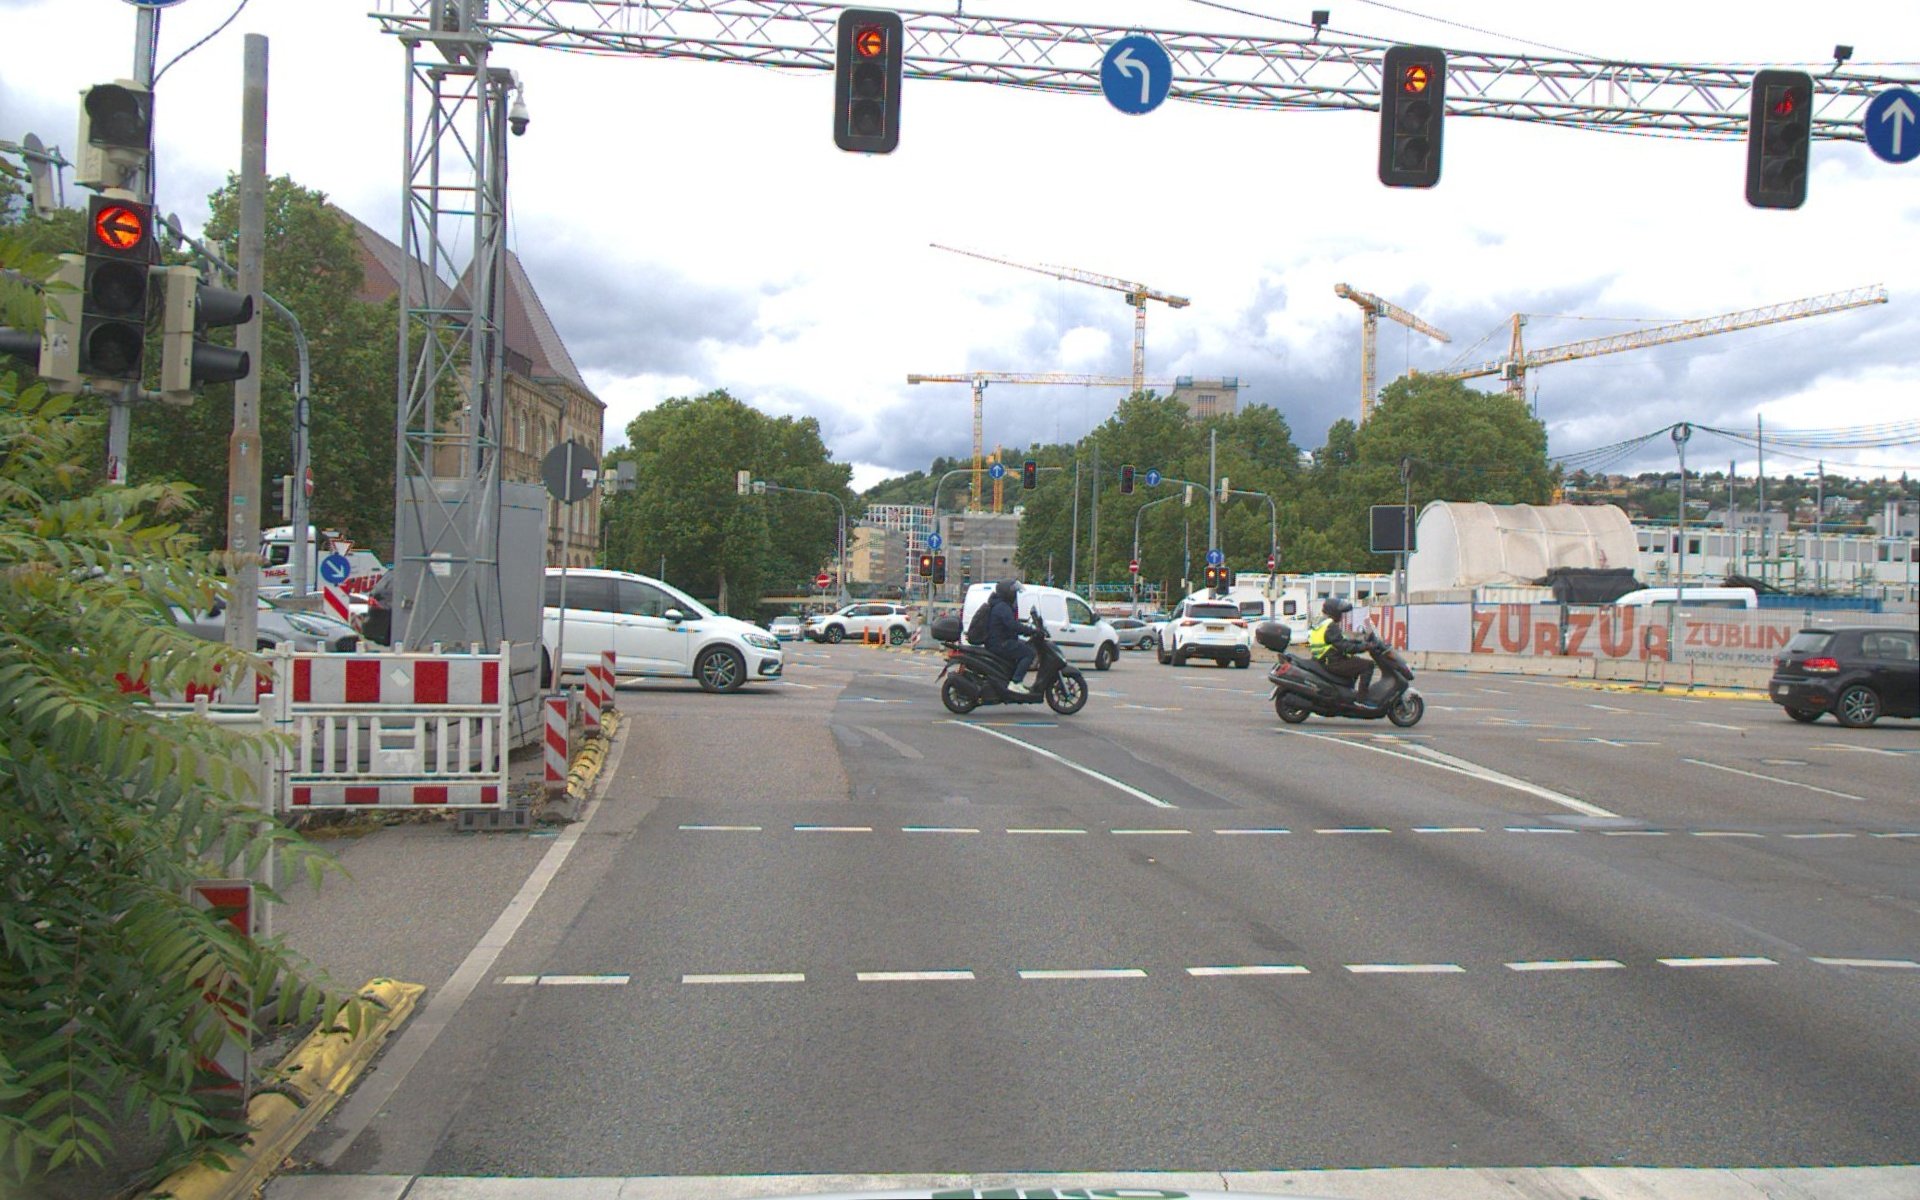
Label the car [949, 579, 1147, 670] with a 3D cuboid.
[{"bbox_3d":[2.013,0.532,36.618,1.837,1.865,4.693,1,0,42],"label":"car"}]

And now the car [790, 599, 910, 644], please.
[{"bbox_3d":[-4.463,0.863,67.140,4.524,1.754,1.894,1,0,-24],"label":"car"}]

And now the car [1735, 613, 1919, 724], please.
[{"bbox_3d":[14.147,1.014,24.933,4.020,1.574,2.001,1,0,5],"label":"car"}]

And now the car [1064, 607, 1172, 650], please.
[{"bbox_3d":[7.218,1.294,75.417,4.508,1.805,1.984,2,1,-26],"label":"car"}]

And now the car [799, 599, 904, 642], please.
[{"bbox_3d":[-4.654,0.877,70.992,4.093,1.754,1.894,1,0,-24],"label":"car"}]

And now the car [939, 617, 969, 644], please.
[{"bbox_3d":[-0.434,2.179,119.833,1.954,1.870,3.997,1,0,-3],"label":"car"}]

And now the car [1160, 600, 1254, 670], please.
[{"bbox_3d":[6.638,0.909,44.953,1.952,1.790,4.505,1,0,1],"label":"car"}]

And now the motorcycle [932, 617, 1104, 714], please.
[{"bbox_3d":[0.719,0.817,20.921,2.123,1.175,0.652,1,0,0],"label":"motorcycle"}]

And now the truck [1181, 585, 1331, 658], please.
[{"bbox_3d":[13.437,0.974,74.916,6.495,3.201,2.349,1,0,-24],"label":"truck"}]

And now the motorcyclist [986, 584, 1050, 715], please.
[{"bbox_3d":[0.724,0.615,20.921,0.770,1.624,0.652,1,-1,0],"label":"motorcyclist"}]

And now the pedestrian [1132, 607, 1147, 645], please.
[{"bbox_3d":[8.860,1.282,81.664,0.574,1.872,0.604,1,-1,-4],"label":"pedestrian"}]

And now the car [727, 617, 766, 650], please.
[{"bbox_3d":[-12.511,1.949,96.982,1.954,1.870,3.997,1,0,-3],"label":"car"}]

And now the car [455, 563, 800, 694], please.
[{"bbox_3d":[-4.674,0.399,23.847,4.577,1.732,1.999,1,0,-3],"label":"car"}]

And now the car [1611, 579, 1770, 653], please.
[{"bbox_3d":[21.049,0.450,47.816,3.902,2.049,2.001,1,0,15],"label":"car"}]

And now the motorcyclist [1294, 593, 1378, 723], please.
[{"bbox_3d":[4.725,0.719,20.832,0.860,1.598,0.817,1,-1,0],"label":"motorcyclist"}]

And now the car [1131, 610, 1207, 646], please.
[{"bbox_3d":[11.313,1.494,89.328,3.902,1.870,2.002,1,0,12],"label":"car"}]

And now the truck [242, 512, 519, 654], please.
[{"bbox_3d":[-21.775,-0.545,62.385,9.584,5.047,3.091,1,-1,-24],"label":"truck"}]

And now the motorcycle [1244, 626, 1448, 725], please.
[{"bbox_3d":[4.838,0.937,20.828,2.373,1.175,0.817,1,0,0],"label":"motorcycle"}]

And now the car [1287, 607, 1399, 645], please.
[{"bbox_3d":[18.871,1.288,81.496,5.101,1.816,2.149,1,0,-24],"label":"car"}]

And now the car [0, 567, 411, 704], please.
[{"bbox_3d":[-9.334,0.429,20.779,4.209,1.567,1.999,1,0,-3],"label":"car"}]

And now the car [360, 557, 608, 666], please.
[{"bbox_3d":[-8.605,0.215,30.193,4.171,1.866,1.993,1,0,-14],"label":"car"}]

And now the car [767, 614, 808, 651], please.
[{"bbox_3d":[-9.299,1.739,89.291,1.954,1.870,3.997,1,0,-3],"label":"car"}]
